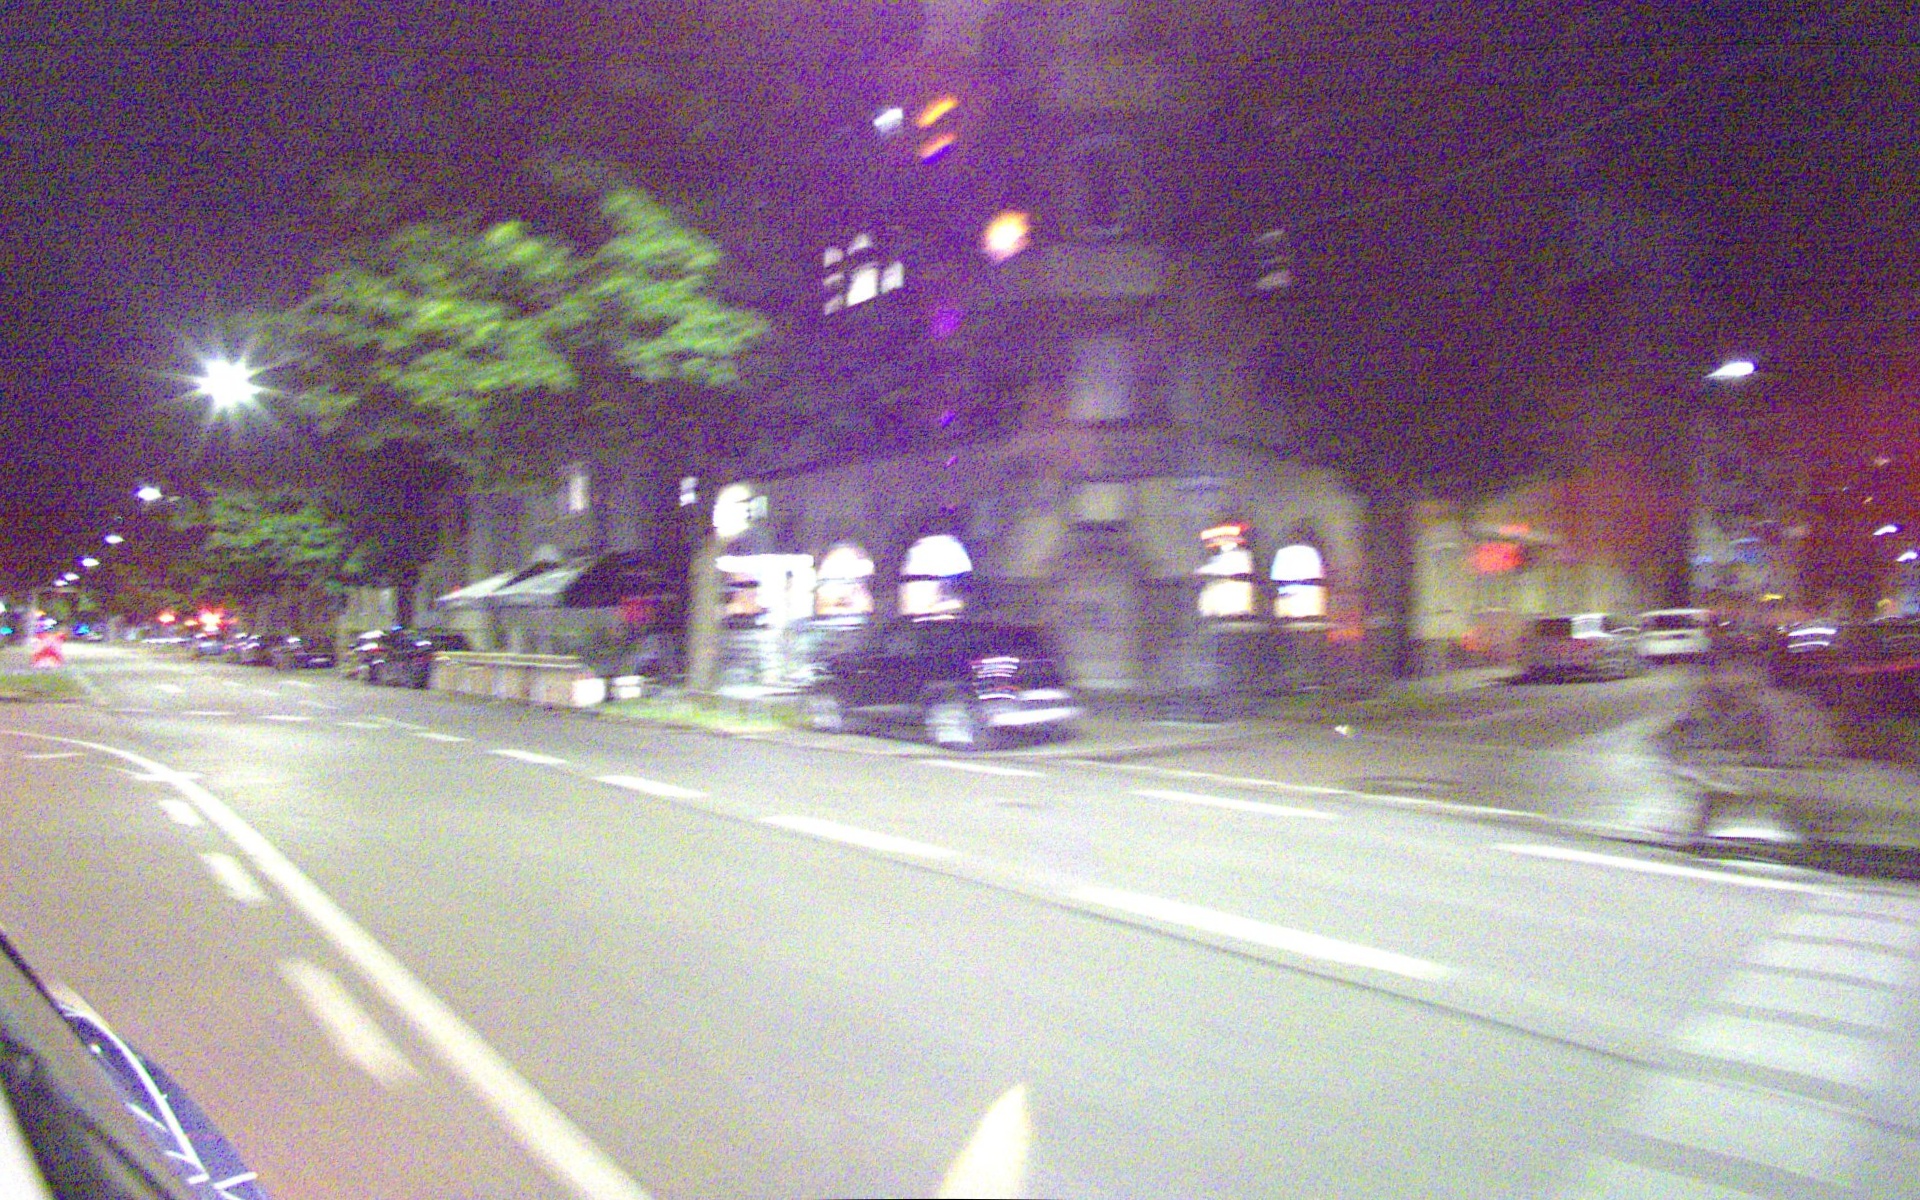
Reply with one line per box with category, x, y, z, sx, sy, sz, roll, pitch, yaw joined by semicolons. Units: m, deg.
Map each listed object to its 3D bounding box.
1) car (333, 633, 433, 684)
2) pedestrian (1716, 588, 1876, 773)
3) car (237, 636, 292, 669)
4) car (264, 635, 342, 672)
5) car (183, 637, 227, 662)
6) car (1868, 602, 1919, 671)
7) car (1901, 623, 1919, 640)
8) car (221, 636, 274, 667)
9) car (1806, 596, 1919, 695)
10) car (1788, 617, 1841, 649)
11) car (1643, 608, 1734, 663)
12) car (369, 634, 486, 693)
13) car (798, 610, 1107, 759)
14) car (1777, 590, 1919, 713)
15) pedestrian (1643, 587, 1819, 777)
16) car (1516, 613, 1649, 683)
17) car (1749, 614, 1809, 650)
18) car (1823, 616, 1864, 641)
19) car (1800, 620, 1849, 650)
car;-18.304;1.800;32.017;1.838;1.490;4.478;1;-2;-42
pedestrian;8.230;0.768;9.987;0.699;1.703;1.000;2;-3;-32
car;-32.798;2.429;47.673;1.533;1.444;4.353;-1;-1;-42
car;-27.173;2.175;41.793;1.839;1.444;4.406;1;-2;-45
car;-47.429;3.093;63.557;3.515;1.475;1.610;-2;-4;44
car;26.312;0.987;27.672;3.940;1.789;1.902;2;-3;-44
car;101.006;3.339;107.033;3.940;1.789;1.902;2;-3;-44
car;-36.177;2.562;51.348;1.618;1.444;4.355;-1;-1;-42
car;18.283;0.873;20.058;3.940;1.789;1.902;2;-3;-44
car;49.426;1.913;58.521;3.940;1.789;1.902;2;-3;-44
car;25.457;1.231;35.324;3.940;1.789;1.902;2;-3;-44
car;-14.894;1.711;28.193;1.838;1.444;4.448;0;-1;-42
car;-0.238;0.985;13.268;1.863;1.608;4.029;-1;-1;-41
car;14.872;0.801;16.513;3.940;1.789;1.902;2;-3;-44
pedestrian;7.395;0.760;9.740;0.699;1.703;1.127;2;-3;-32
car;15.654;1.170;25.382;3.940;1.611;1.902;2;-3;-44
car;42.113;1.654;52.030;3.940;1.789;1.902;2;-3;-44
car;64.335;2.067;73.669;3.940;1.789;1.902;2;-3;-44
car;53.496;2.180;62.611;3.940;1.789;1.902;2;-3;-44
